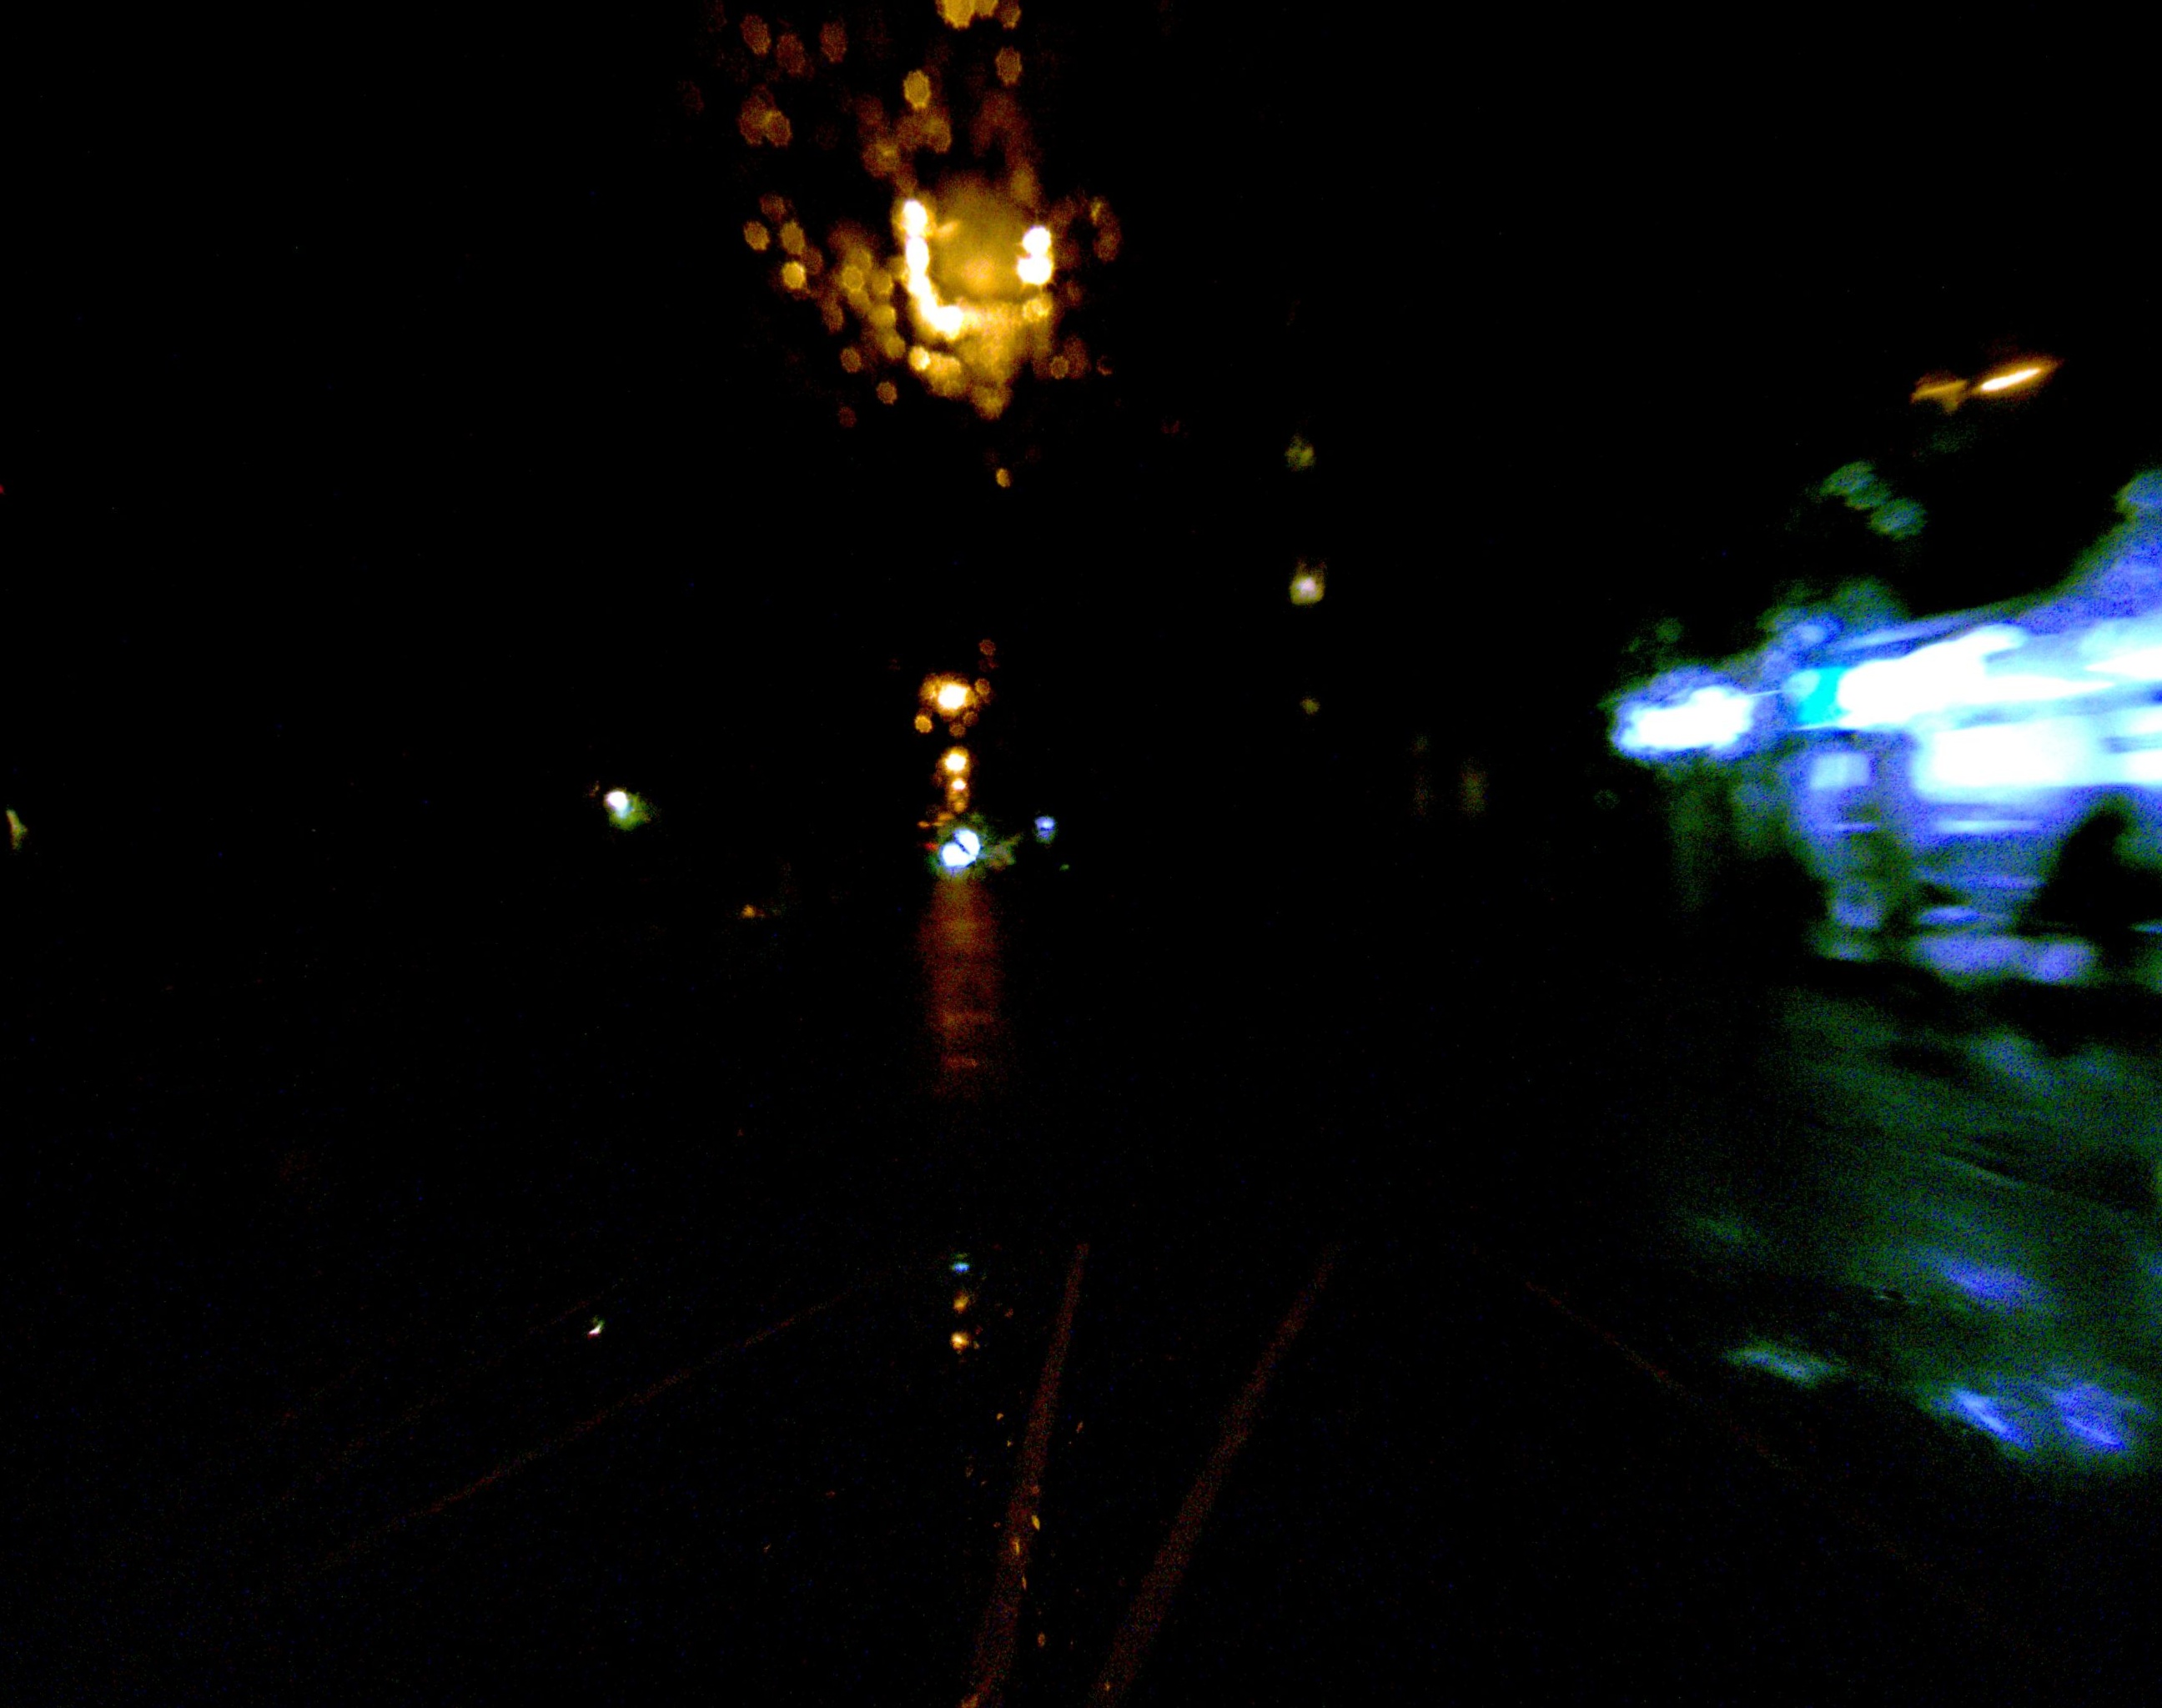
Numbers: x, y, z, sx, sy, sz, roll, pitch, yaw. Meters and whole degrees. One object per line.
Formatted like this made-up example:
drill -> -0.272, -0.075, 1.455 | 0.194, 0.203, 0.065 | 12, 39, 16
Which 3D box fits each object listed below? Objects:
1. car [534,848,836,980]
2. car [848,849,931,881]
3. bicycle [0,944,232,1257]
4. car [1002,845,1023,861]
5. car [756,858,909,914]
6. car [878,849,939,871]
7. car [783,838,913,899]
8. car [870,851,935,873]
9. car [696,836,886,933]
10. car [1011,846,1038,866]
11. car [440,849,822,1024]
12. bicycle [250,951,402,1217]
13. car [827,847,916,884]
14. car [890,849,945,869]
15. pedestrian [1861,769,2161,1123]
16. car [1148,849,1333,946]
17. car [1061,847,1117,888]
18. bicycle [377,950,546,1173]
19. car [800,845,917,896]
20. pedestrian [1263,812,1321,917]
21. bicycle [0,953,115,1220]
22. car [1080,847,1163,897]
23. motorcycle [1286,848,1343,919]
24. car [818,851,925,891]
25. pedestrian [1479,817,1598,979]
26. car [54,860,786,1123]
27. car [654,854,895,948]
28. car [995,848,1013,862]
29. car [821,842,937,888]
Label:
car -> -5.982, 0.776, 11.729 | 3.802, 1.702, 1.743 | 0, 1, -43
car -> -10.146, 0.550, 40.350 | 3.941, 1.610, 1.706 | 0, 1, -31
bicycle -> -4.779, 1.102, 3.844 | 0.336, 1.021, 1.641 | -3, 5, -39
car -> -7.247, -0.124, 79.734 | 1.853, 1.571, 3.731 | -3, 1, -9
car -> -7.473, 0.903, 23.080 | 4.065, 1.444, 1.674 | -2, 1, -44
car -> -12.465, 0.445, 55.028 | 3.941, 1.553, 1.706 | 0, 1, -32
car -> -7.992, 0.463, 26.283 | 1.738, 1.931, 3.943 | 1, 1, 44
car -> -12.073, 0.545, 51.565 | 3.941, 1.455, 1.706 | 0, 0, -32
car -> -6.641, 0.628, 17.634 | 3.748, 2.017, 1.716 | 0, 1, -44
car -> -4.750, 0.143, 63.090 | 1.853, 1.470, 3.731 | -3, 1, -9
car -> -5.388, 0.814, 9.364 | 3.748, 1.702, 1.766 | 0, 1, -43
bicycle -> -4.122, 1.139, 4.113 | 1.641, 1.021, 0.337 | 2, 2, 36
car -> -10.313, 0.541, 37.445 | 3.941, 1.732, 1.706 | 0, 1, -31
car -> -12.987, 0.371, 60.527 | 3.941, 1.553, 1.706 | 0, 1, -32
pedestrian -> 6.015, 0.470, 4.667 | 0.959, 1.852, 1.413 | -1, 1, -10
car -> 2.827, 0.683, 14.809 | 1.853, 1.470, 5.026 | -2, 1, -9
car -> 0.242, 0.481, 30.528 | 1.721, 1.470, 3.783 | -3, 1, -7
bicycle -> -3.757, 1.158, 4.560 | 1.641, 1.020, 0.337 | 0, 0, 35
car -> -8.407, 0.595, 28.936 | 1.738, 1.782, 3.943 | 1, 1, 44
pedestrian -> 4.645, 0.217, 16.766 | 0.802, 2.228, 1.115 | -1, 1, -10
bicycle -> -5.098, 1.095, 3.487 | 0.336, 1.086, 1.642 | 0, 0, -34
car -> 1.241, 0.529, 25.352 | 1.722, 1.470, 4.155 | -2, 1, -12
motorcycle -> 5.046, 0.603, 16.478 | 0.538, 1.462, 1.456 | -3, 1, -9
car -> -8.765, 0.676, 31.958 | 3.942, 1.541, 1.738 | 0, 1, -43
pedestrian -> 5.522, 0.493, 9.226 | 0.676, 1.822, 1.077 | -3, 1, -7
car -> -5.021, 0.854, 6.582 | 4.271, 1.564, 1.767 | 0, 1, -37
car -> -5.978, 0.823, 15.014 | 4.080, 1.588, 1.829 | 0, 1, -37
car -> -8.920, 0.107, 87.709 | 1.853, 1.571, 3.731 | -3, 1, -9
car -> -9.172, 0.473, 34.661 | 4.721, 1.968, 1.974 | 0, 1, -38
